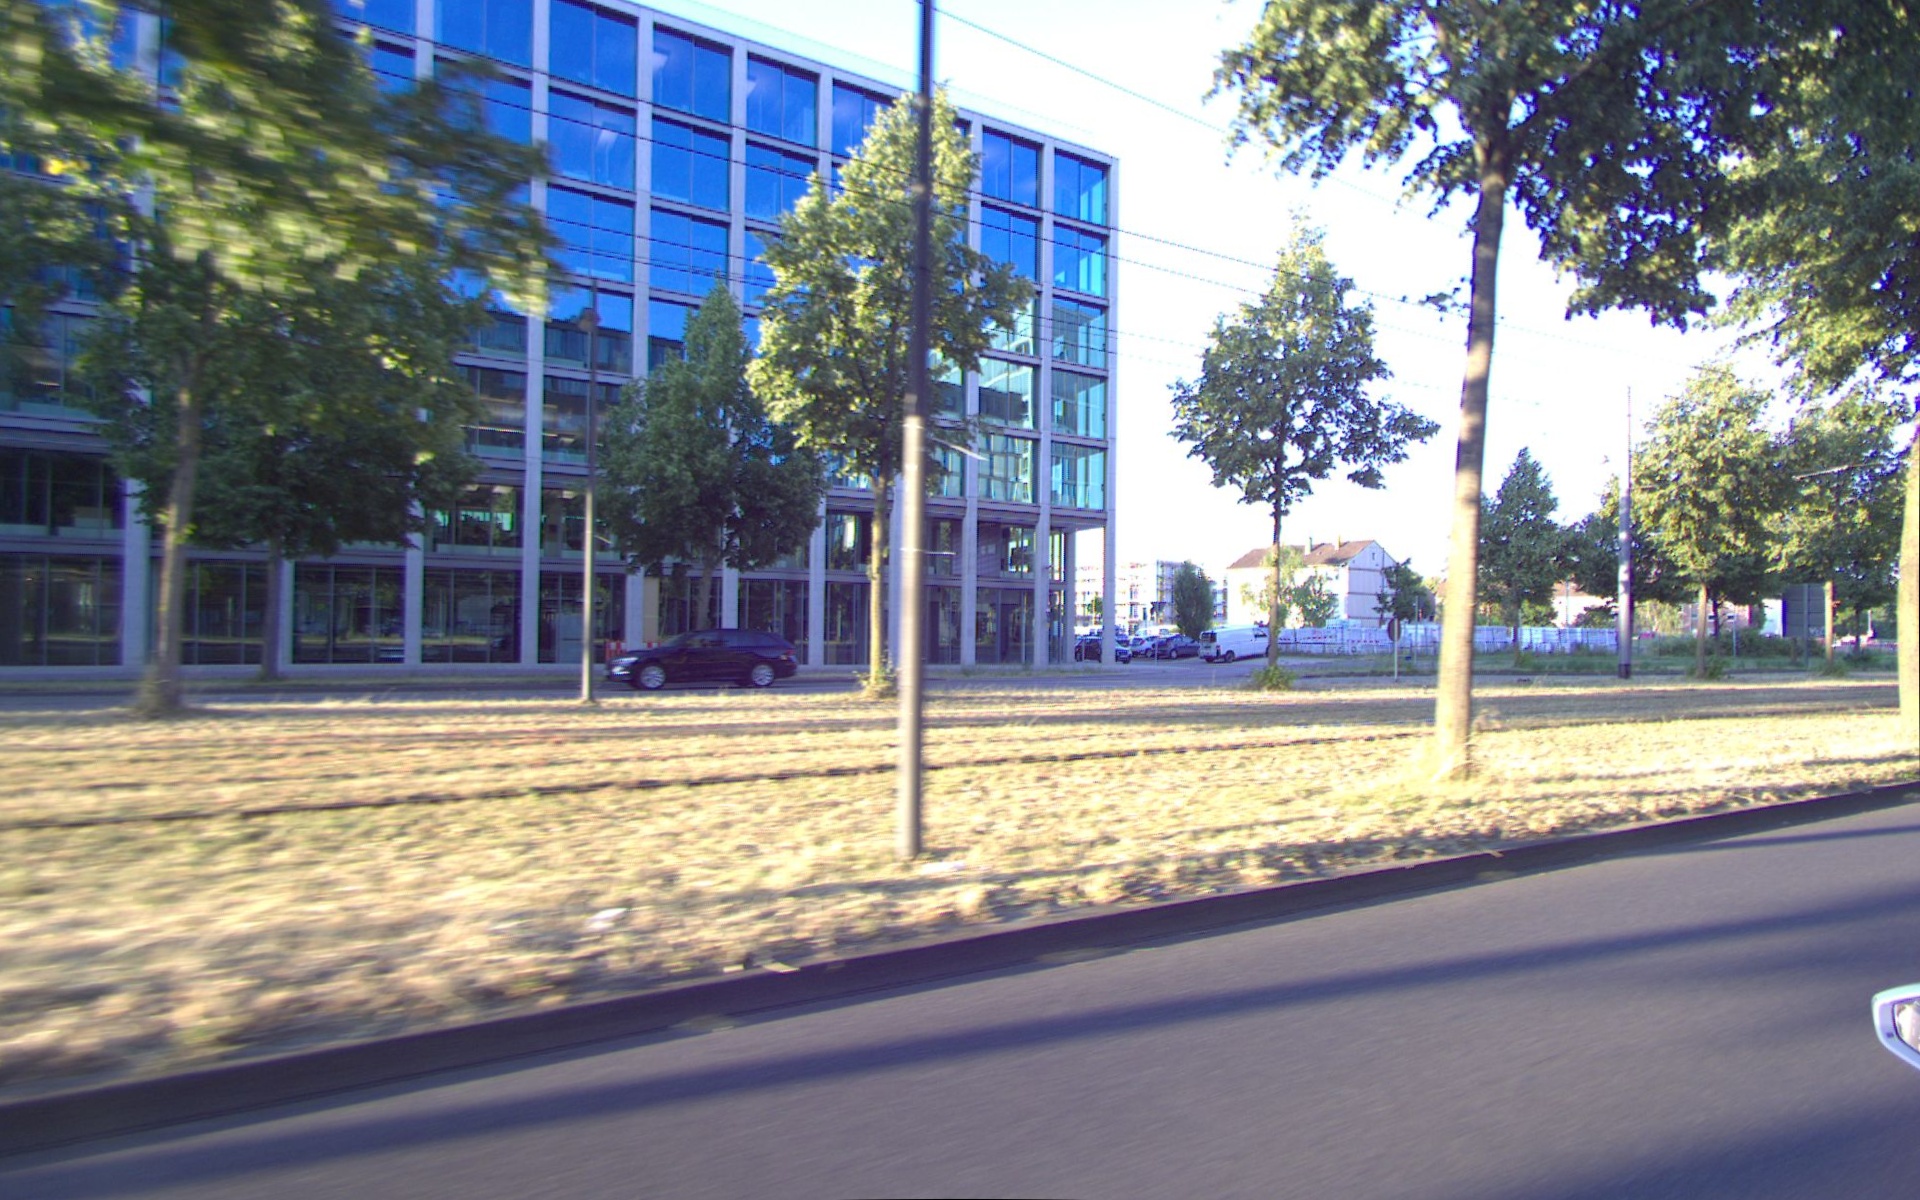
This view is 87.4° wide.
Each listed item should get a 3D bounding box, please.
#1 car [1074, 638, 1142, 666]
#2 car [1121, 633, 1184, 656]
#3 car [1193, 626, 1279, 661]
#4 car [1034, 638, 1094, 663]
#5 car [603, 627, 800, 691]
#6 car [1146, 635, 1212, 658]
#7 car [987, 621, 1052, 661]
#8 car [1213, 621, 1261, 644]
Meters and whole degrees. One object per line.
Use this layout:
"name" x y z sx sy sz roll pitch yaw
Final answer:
"car" 8.323 2.911 56.849 1.870 1.465 3.973 2 -2 -26
"car" 13.226 3.049 68.869 3.953 1.530 1.984 2 -2 -30
"car" 16.745 2.631 60.901 5.024 2.040 2.196 2 -2 -30
"car" 6.306 3.063 61.416 1.869 1.465 3.975 2 -2 -26
"car" -6.312 1.425 24.672 4.337 1.441 1.922 2 -2 -30
"car" 14.387 3.053 65.940 3.953 1.437 1.984 2 -2 -30
"car" 3.866 2.692 66.860 1.946 2.500 5.465 1 -2 -25
"car" 25.287 2.964 91.680 4.263 2.008 1.788 2 -2 -31
